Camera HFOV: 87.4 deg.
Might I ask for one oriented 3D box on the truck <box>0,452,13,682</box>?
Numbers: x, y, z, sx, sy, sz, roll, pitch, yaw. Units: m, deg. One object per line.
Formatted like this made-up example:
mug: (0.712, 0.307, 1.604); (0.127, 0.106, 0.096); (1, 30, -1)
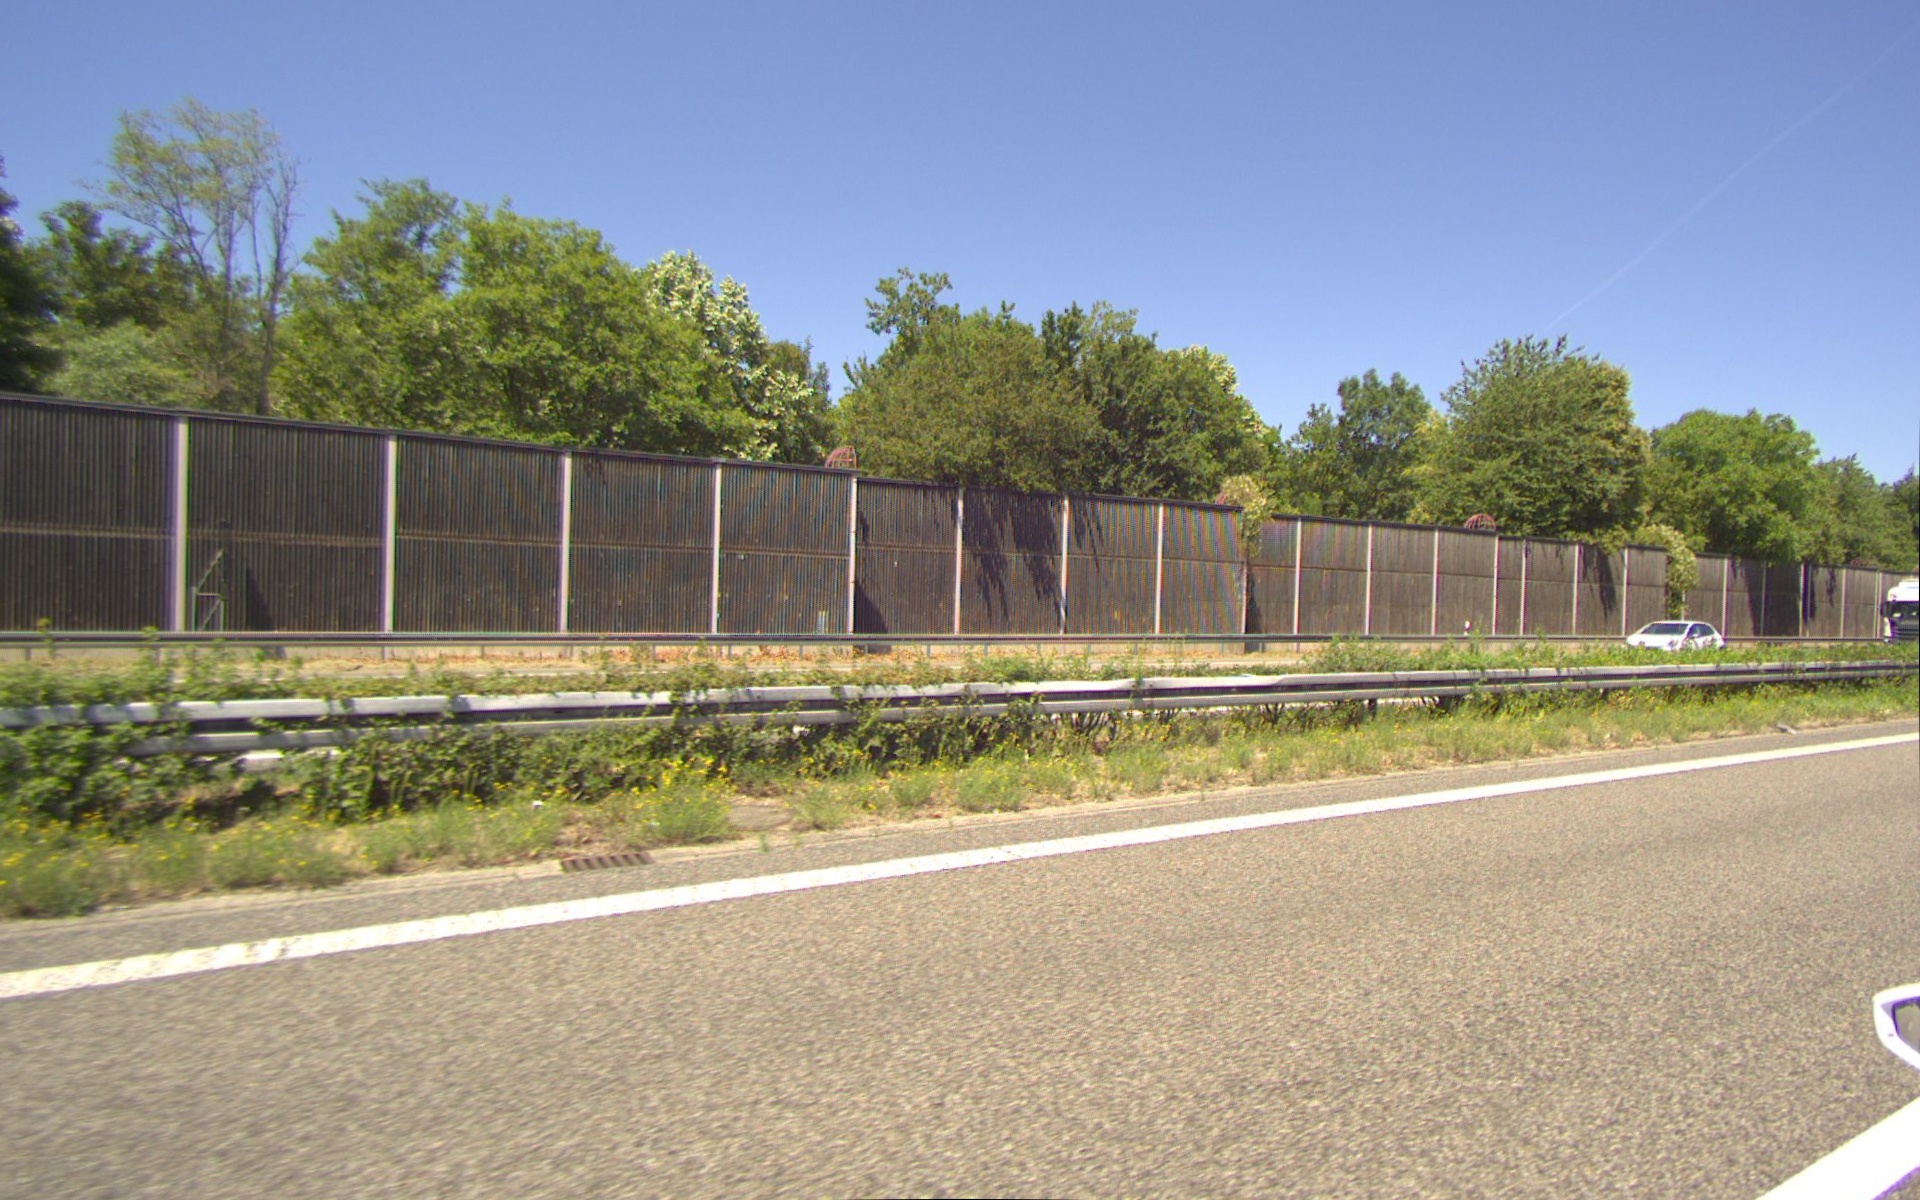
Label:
truck: (-20.261, -0.657, 12.214); (12.227, 3.724, 3.074); (1, -1, -31)

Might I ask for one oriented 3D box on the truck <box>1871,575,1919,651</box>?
truck: (54.100, 0.782, 56.244); (6.658, 4.076, 2.743); (2, 0, -31)

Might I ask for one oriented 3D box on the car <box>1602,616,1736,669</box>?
car: (23.489, 1.390, 33.258); (4.440, 1.611, 1.984); (1, 0, -31)

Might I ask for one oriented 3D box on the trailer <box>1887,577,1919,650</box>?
trailer: (59.250, 0.926, 59.386); (14.143, 4.076, 2.720); (2, 0, -32)
